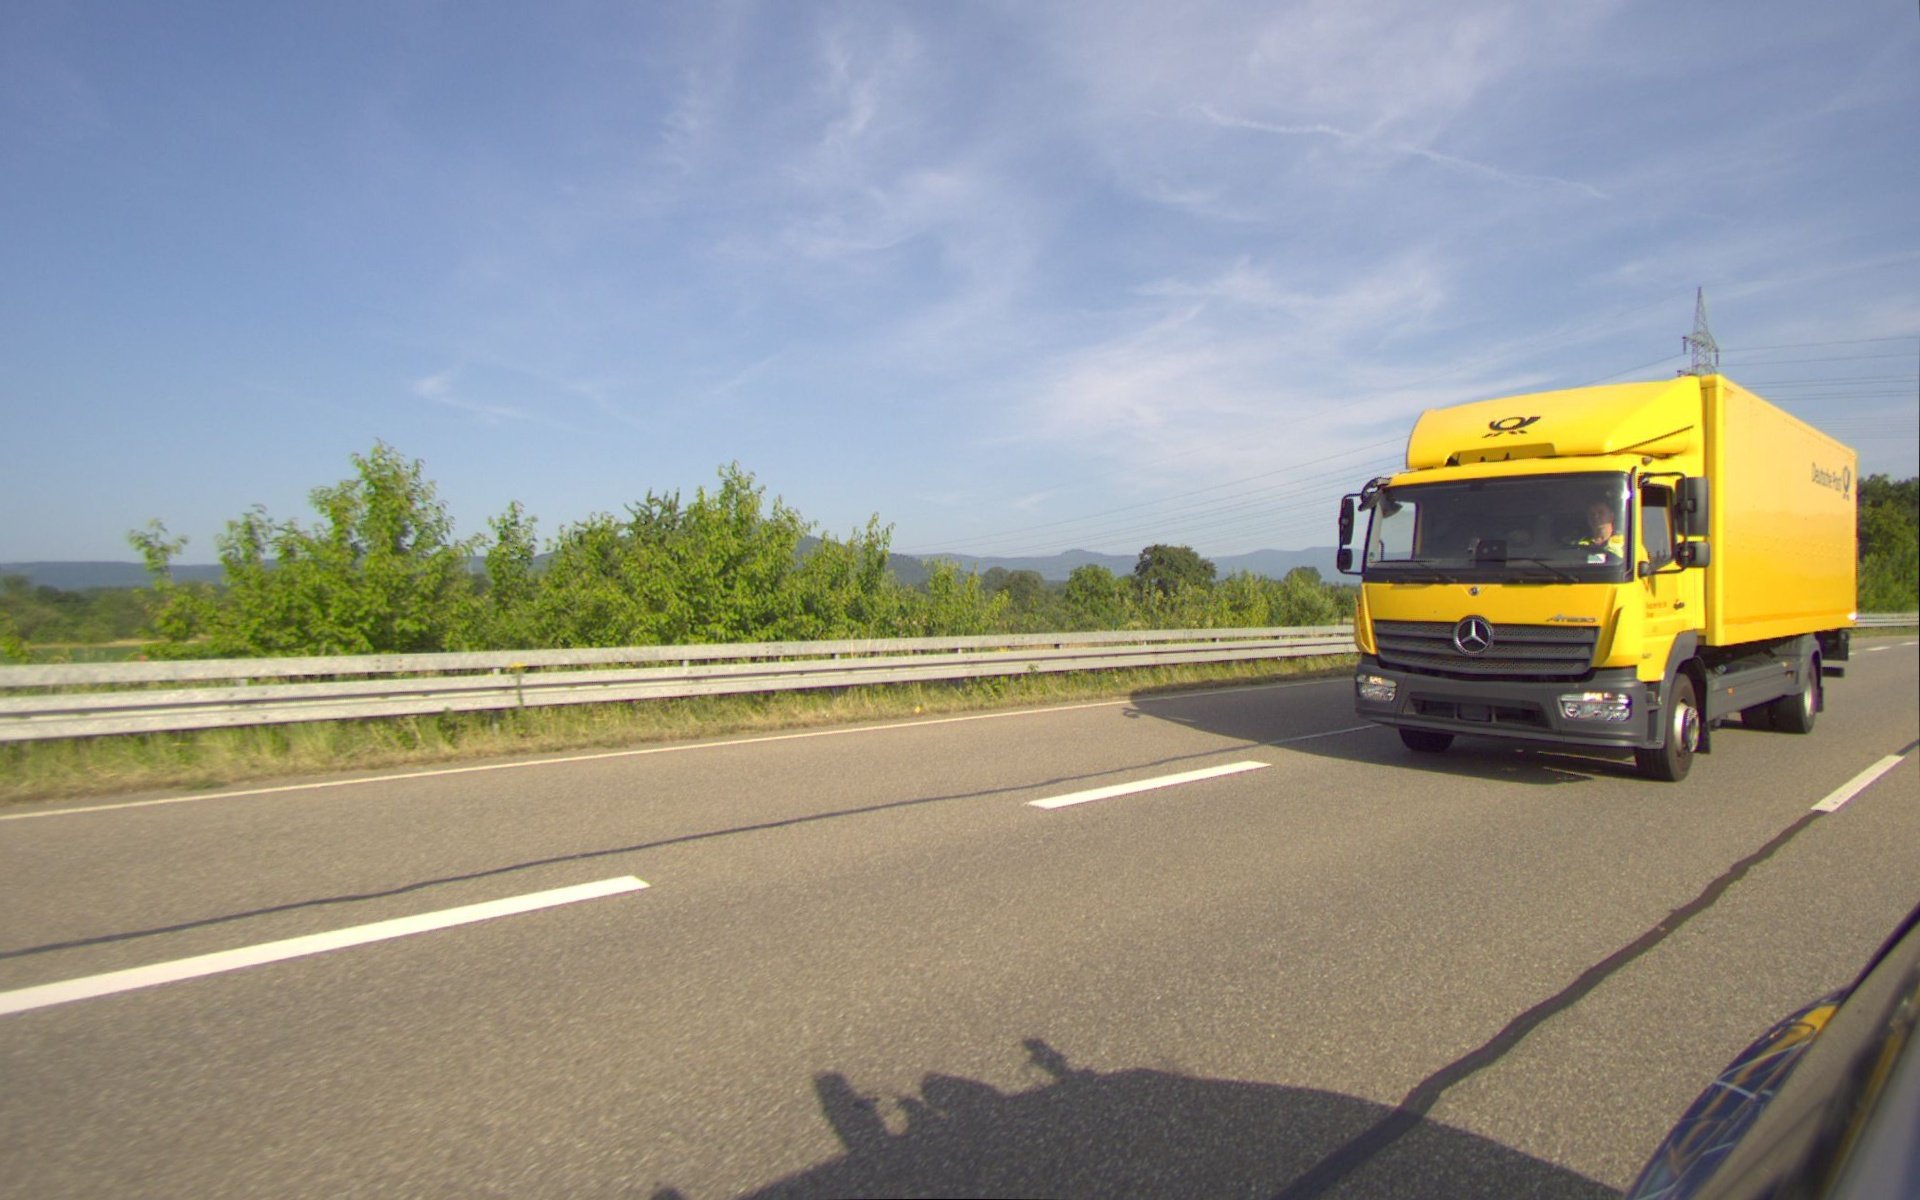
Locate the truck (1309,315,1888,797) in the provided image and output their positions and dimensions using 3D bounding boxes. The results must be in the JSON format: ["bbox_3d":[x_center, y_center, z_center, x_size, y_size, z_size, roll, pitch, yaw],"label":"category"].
[{"bbox_3d":[7.934,-0.319,11.512,10.306,3.359,2.783,0,0,-41],"label":"truck"}]
